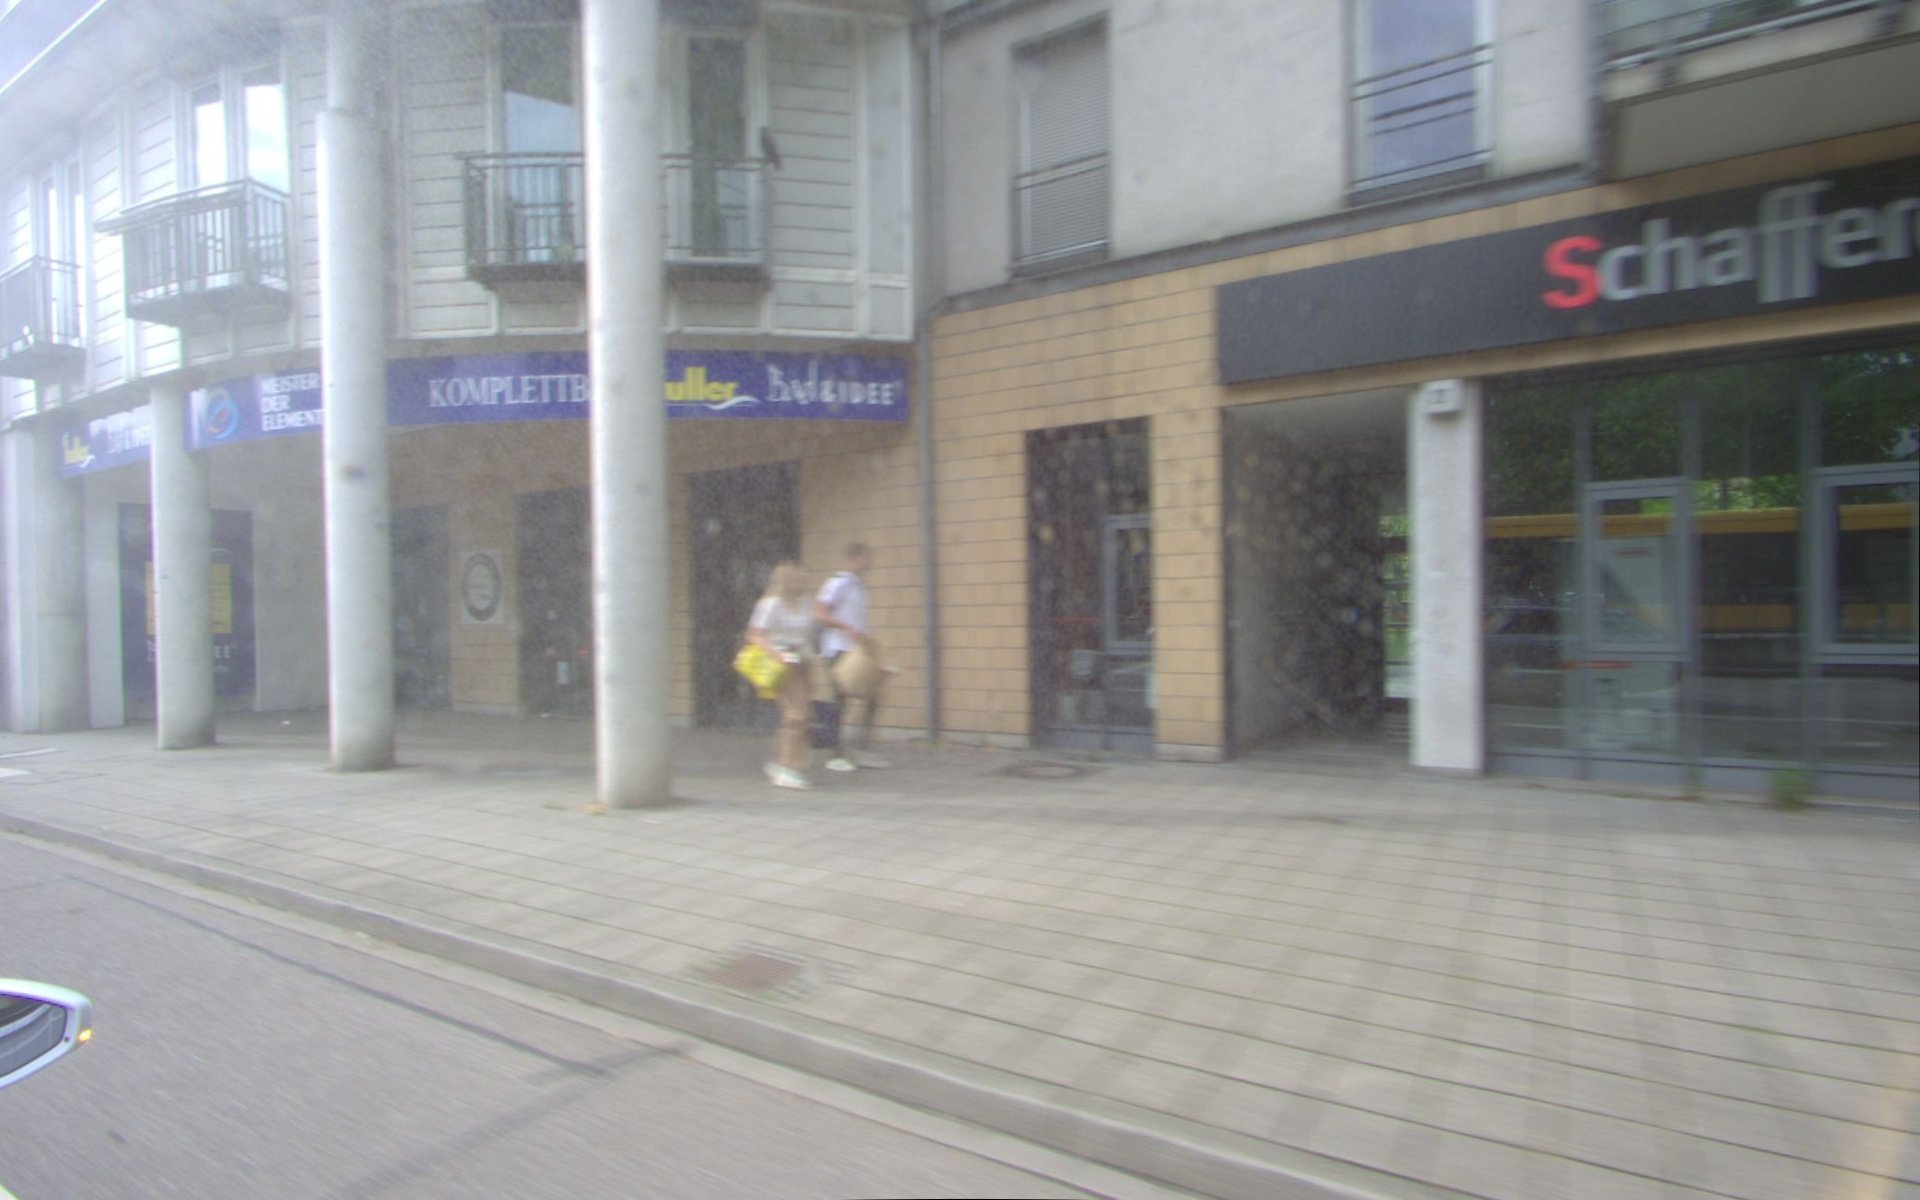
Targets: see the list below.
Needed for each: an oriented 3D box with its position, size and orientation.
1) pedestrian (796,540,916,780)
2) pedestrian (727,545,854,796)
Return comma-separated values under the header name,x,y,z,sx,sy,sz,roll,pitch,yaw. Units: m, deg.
name,x,y,z,sx,sy,sz,roll,pitch,yaw
pedestrian,-0.873,0.484,8.493,0.727,1.916,0.673,0,1,33
pedestrian,-1.310,0.519,7.769,0.727,1.829,0.614,0,1,34
